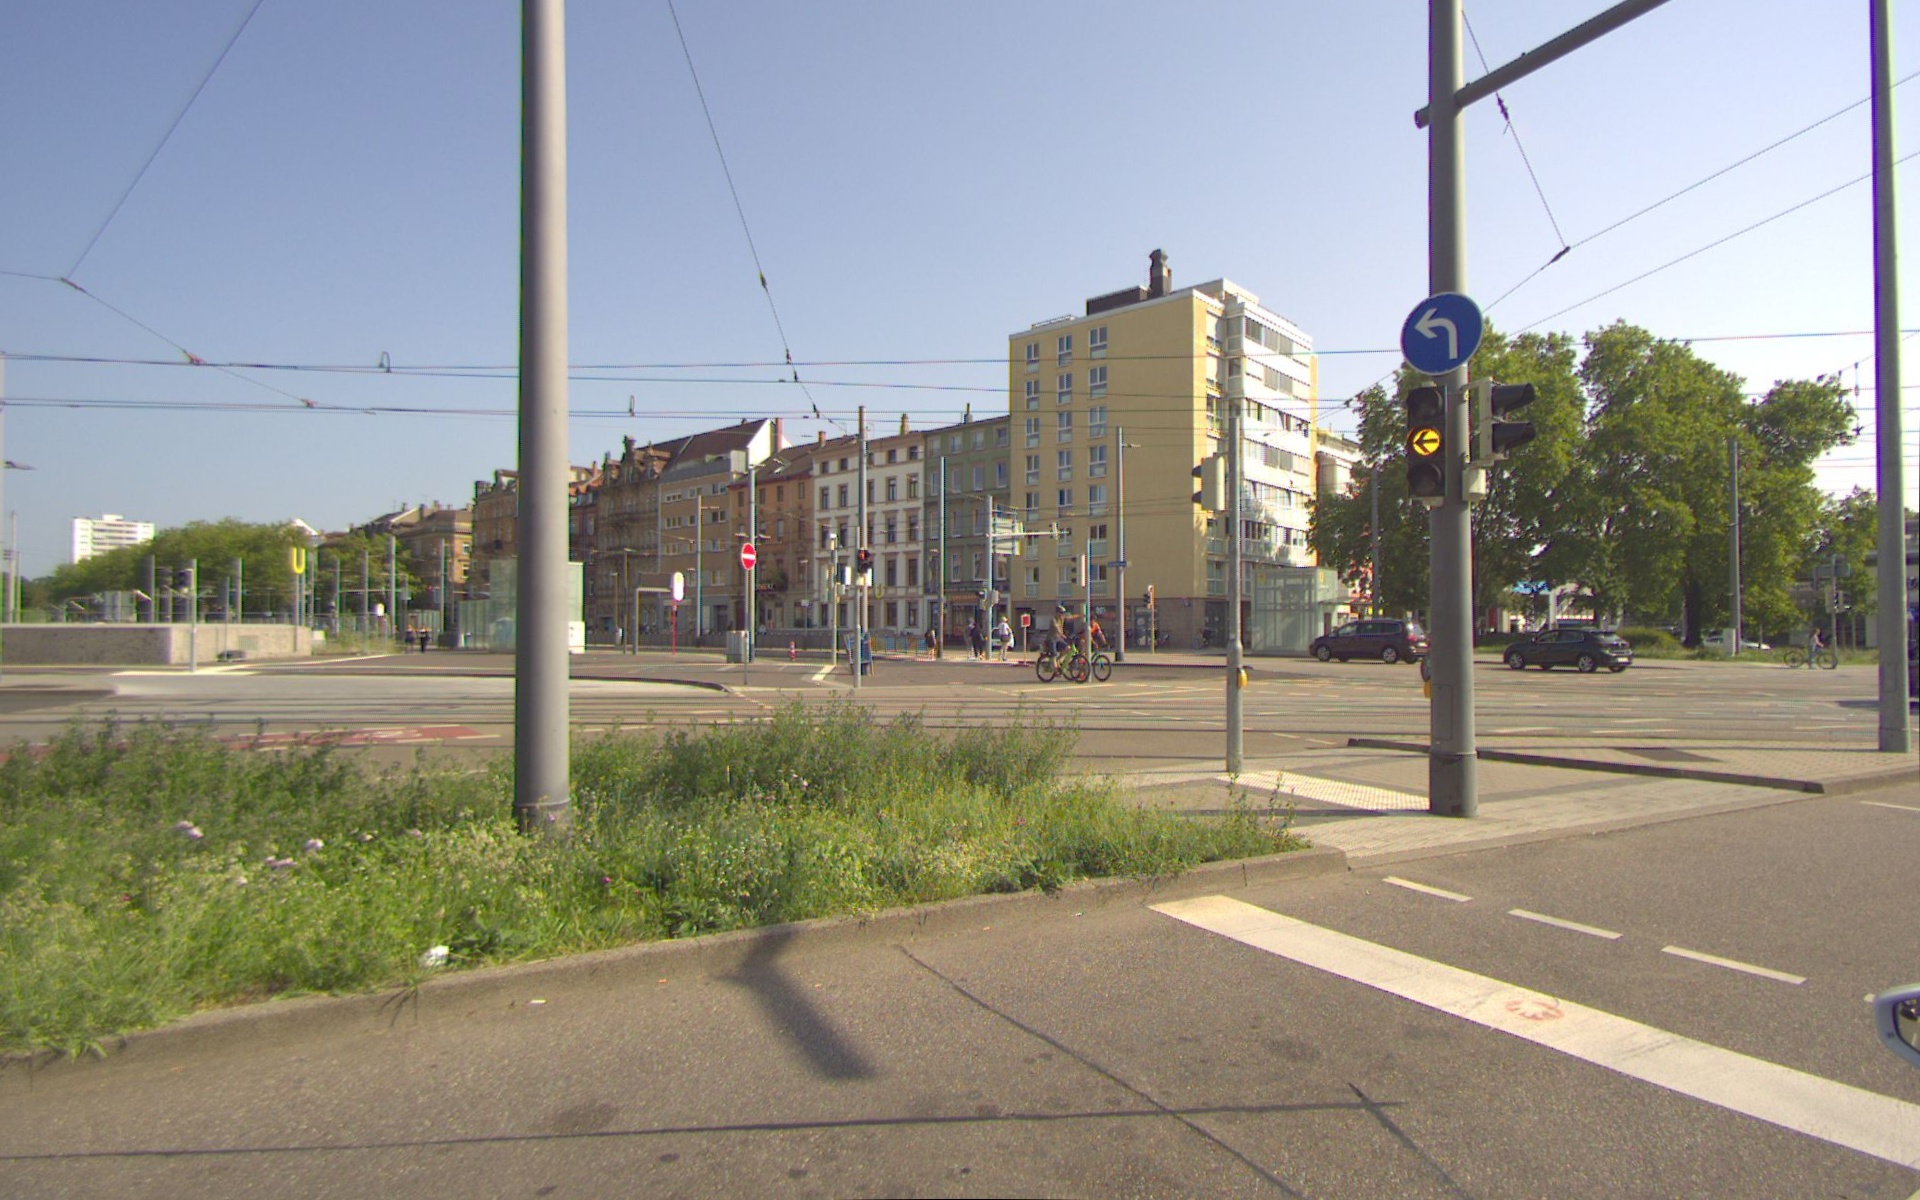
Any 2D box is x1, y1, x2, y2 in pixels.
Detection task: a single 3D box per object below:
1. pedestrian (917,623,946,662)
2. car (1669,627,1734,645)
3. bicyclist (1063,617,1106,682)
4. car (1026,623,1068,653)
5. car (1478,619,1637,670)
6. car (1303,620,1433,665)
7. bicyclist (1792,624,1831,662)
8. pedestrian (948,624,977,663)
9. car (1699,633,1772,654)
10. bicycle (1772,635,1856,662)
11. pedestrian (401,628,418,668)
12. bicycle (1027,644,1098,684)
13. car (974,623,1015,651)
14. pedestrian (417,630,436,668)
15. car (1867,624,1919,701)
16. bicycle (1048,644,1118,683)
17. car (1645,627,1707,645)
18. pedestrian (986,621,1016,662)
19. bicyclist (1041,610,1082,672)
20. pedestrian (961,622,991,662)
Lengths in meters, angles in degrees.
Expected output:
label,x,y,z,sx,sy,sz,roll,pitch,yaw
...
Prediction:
label,x,y,z,sx,sy,sz,roll,pitch,yaw
pedestrian,-1.264,1.872,44.931,0.911,1.712,0.918,0,-1,41
car,64.405,3.119,87.315,4.426,1.543,1.705,1,-1,0
bicyclist,3.252,1.288,26.287,0.721,1.674,0.873,1,-1,-43
car,5.256,2.282,61.145,1.961,1.701,4.549,1,-1,-3
car,19.981,1.532,33.720,4.314,1.510,1.678,-5,-8,44
car,16.409,1.677,40.561,4.488,1.701,1.988,-1,-2,44
bicyclist,35.338,1.760,41.671,1.150,1.547,0.955,-1,-2,45
pedestrian,0.101,1.913,44.838,0.911,1.712,0.918,0,-1,41
car,59.007,3.279,76.509,1.683,1.543,4.072,1,-1,-26
bicycle,35.394,2.008,41.660,2.573,1.071,0.955,-1,-2,45
pedestrian,-26.298,2.282,47.982,0.646,1.891,0.714,1,-1,-35
bicycle,2.588,1.609,25.529,0.721,0.944,1.796,1,-2,-43
car,2.147,2.325,64.562,1.963,1.701,4.545,1,-1,-7
pedestrian,-25.725,2.364,48.431,0.745,1.806,0.700,1,-1,-35
car,19.019,1.178,18.821,1.804,1.454,4.546,0,-1,26
bicycle,3.221,1.645,26.319,0.721,0.944,1.796,1,-2,-43
car,65.087,3.292,91.335,4.426,1.543,1.705,1,-1,0
pedestrian,1.742,1.738,42.785,0.911,1.712,0.918,0,-1,41
bicyclist,2.578,1.025,25.546,0.721,1.547,0.787,1,-1,-43
pedestrian,0.705,1.821,43.913,0.911,1.712,0.918,0,-1,41
